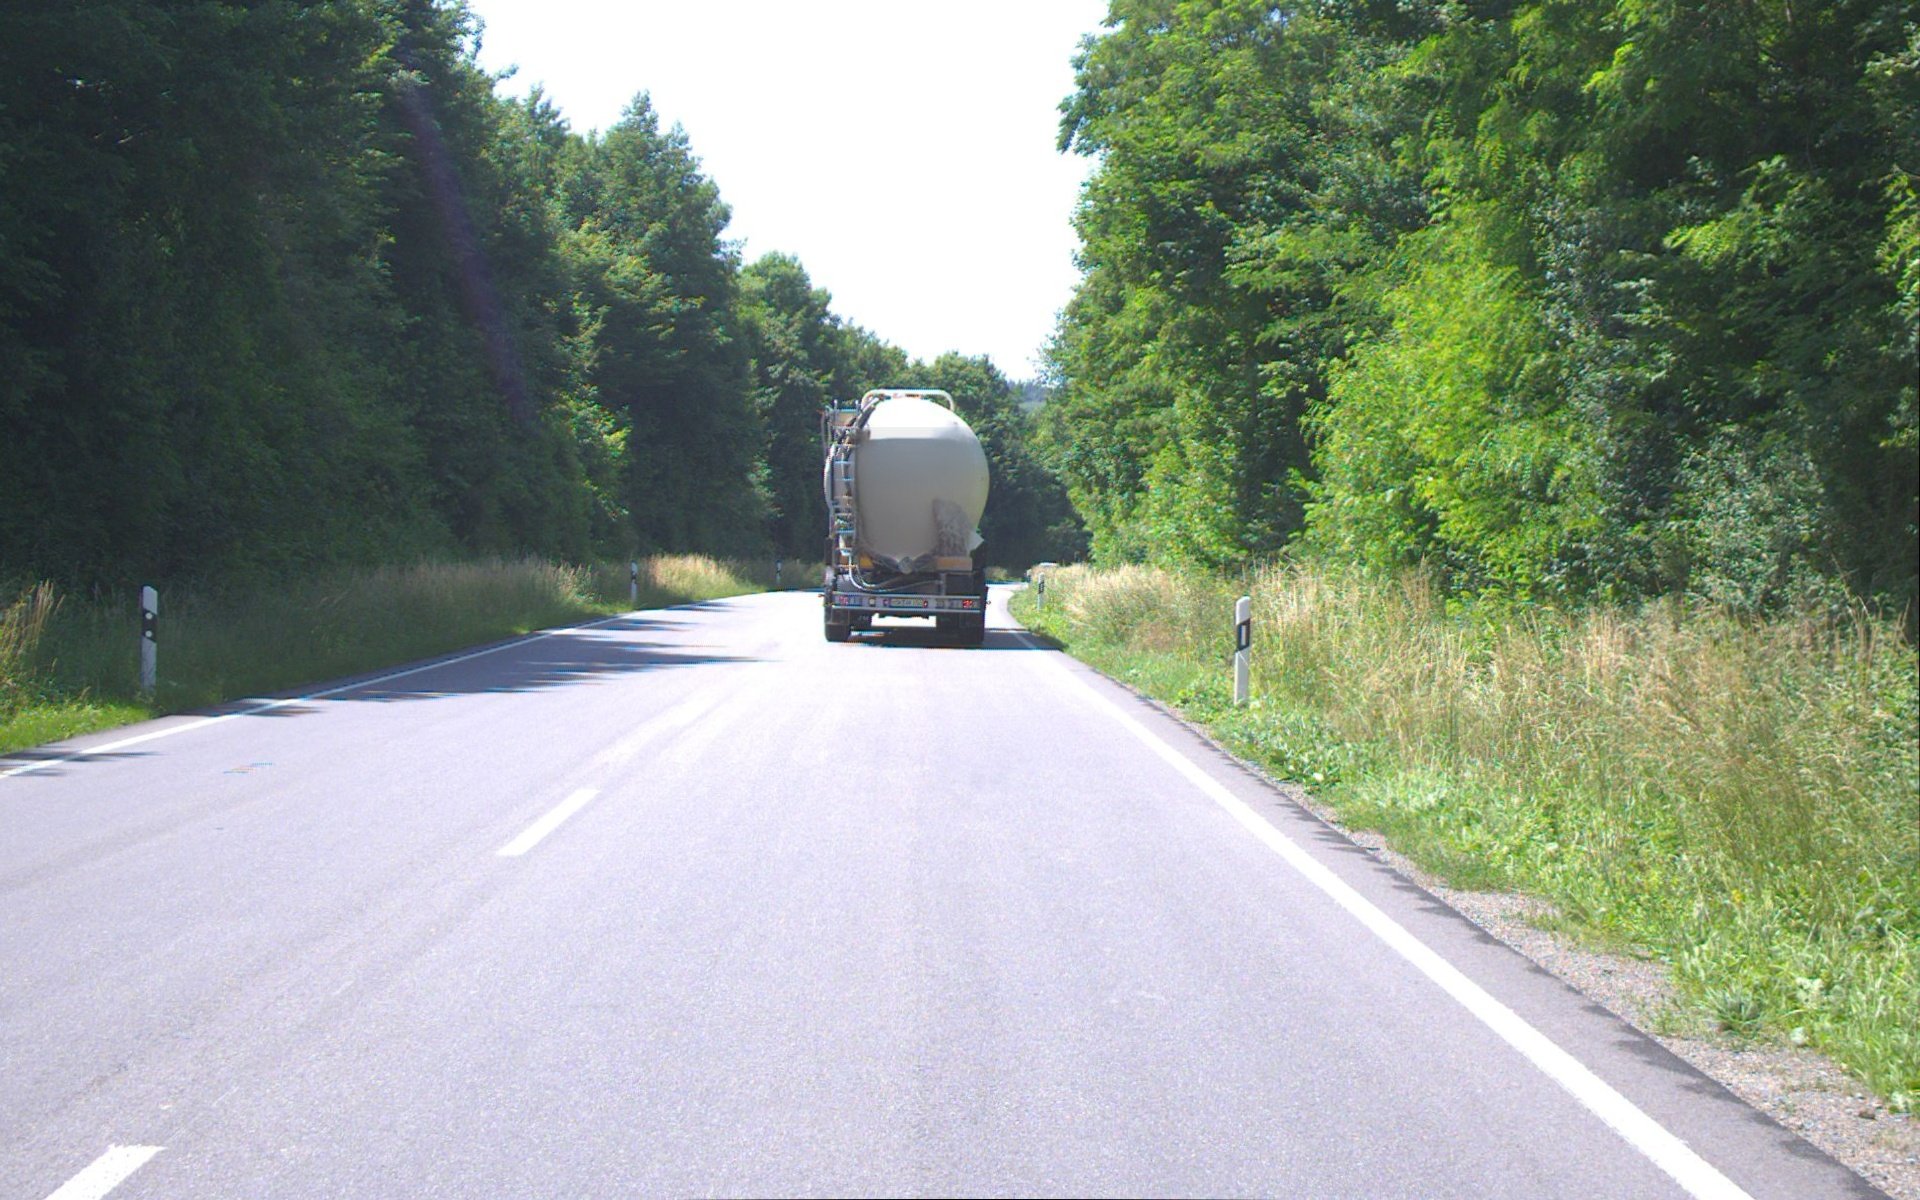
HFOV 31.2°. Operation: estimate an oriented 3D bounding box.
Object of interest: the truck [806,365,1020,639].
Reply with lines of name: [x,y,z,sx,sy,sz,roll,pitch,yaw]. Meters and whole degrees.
truck: [-0.832,-1.572,59.299,3.049,3.984,15.637,2,1,-1]
